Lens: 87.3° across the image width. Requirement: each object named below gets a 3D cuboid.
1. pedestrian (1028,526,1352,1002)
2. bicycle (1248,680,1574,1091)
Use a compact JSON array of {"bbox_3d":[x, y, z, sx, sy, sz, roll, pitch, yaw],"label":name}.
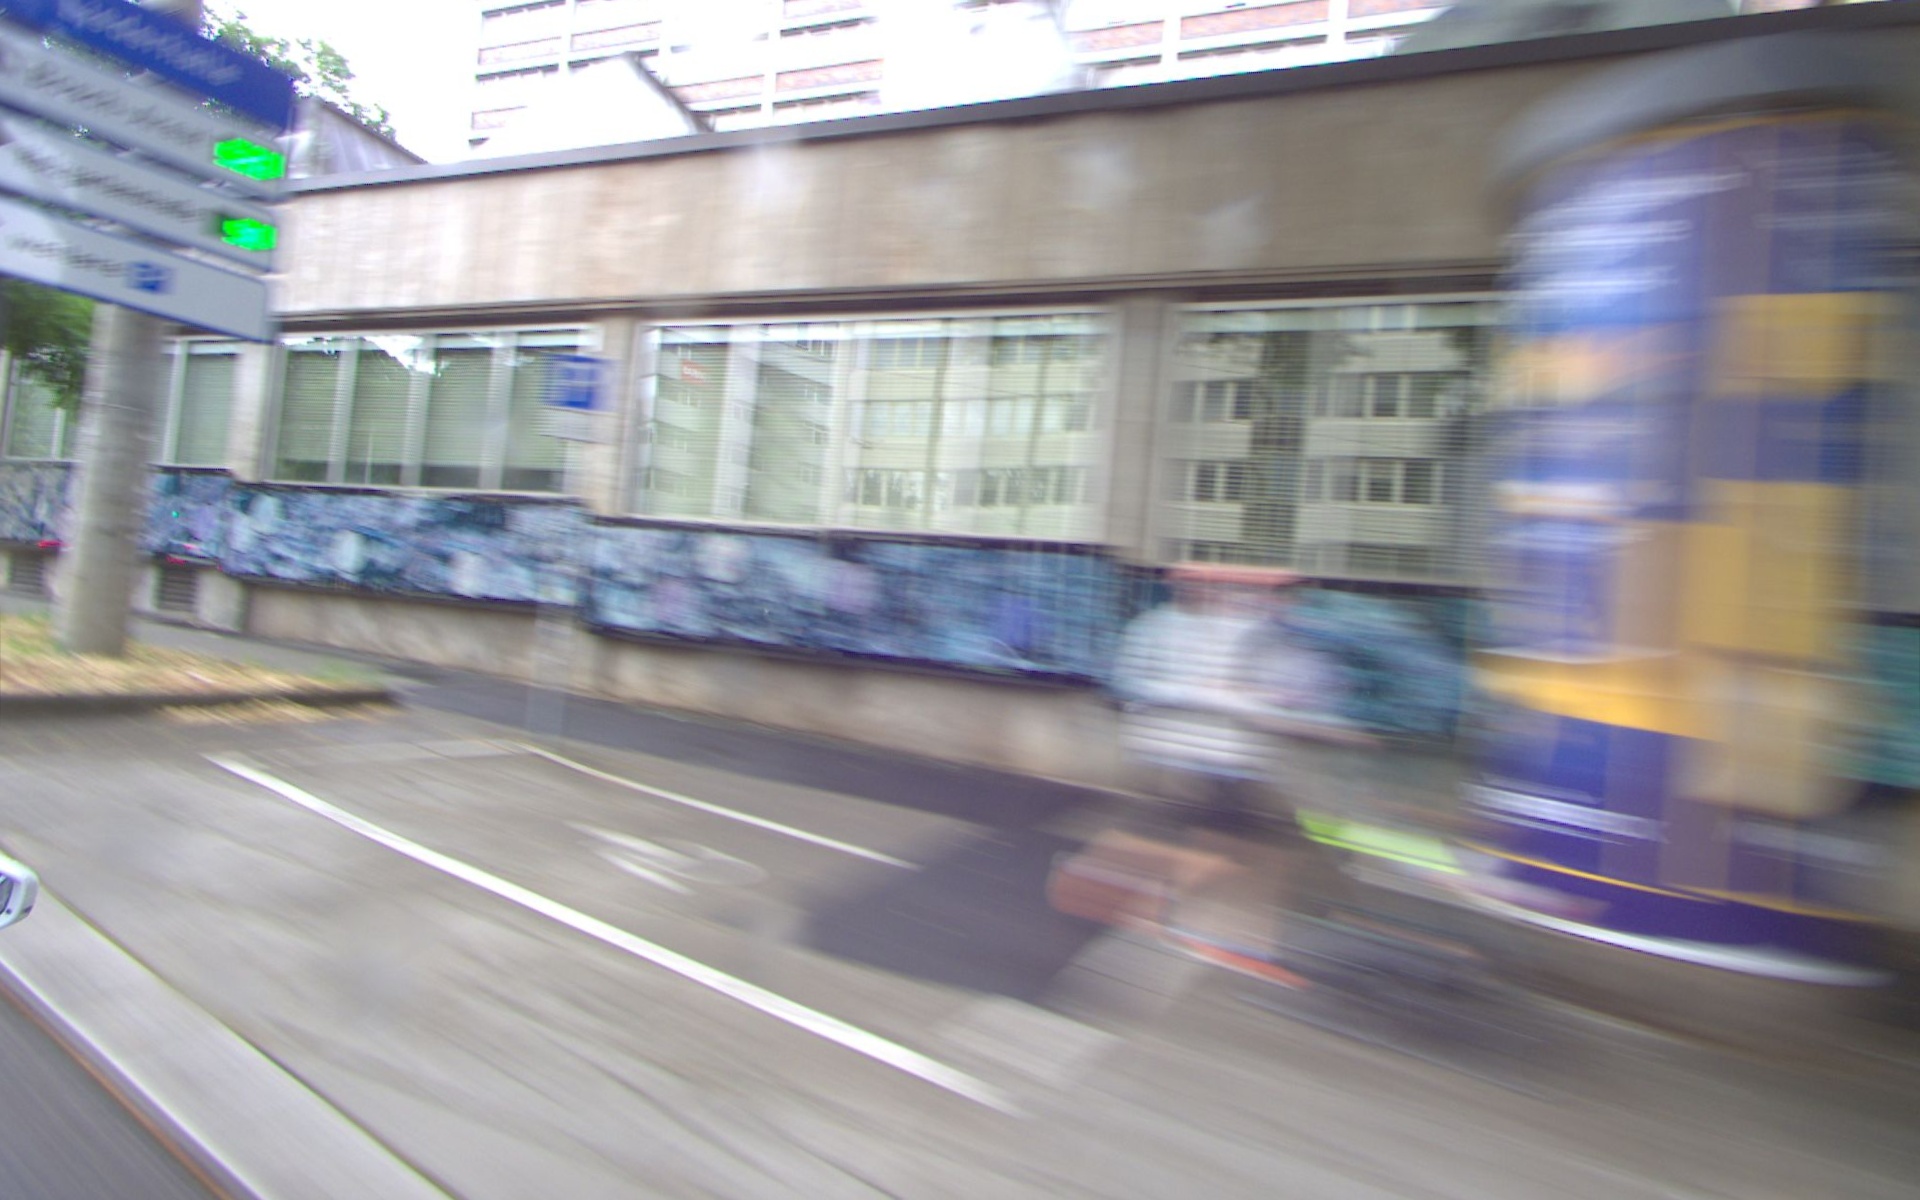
[{"bbox_3d":[0.998,0.626,4.387,1.003,1.764,0.717,7,2,36],"label":"pedestrian"},{"bbox_3d":[1.703,0.981,3.808,0.896,1.236,0.619,7,0,37],"label":"bicycle"}]
